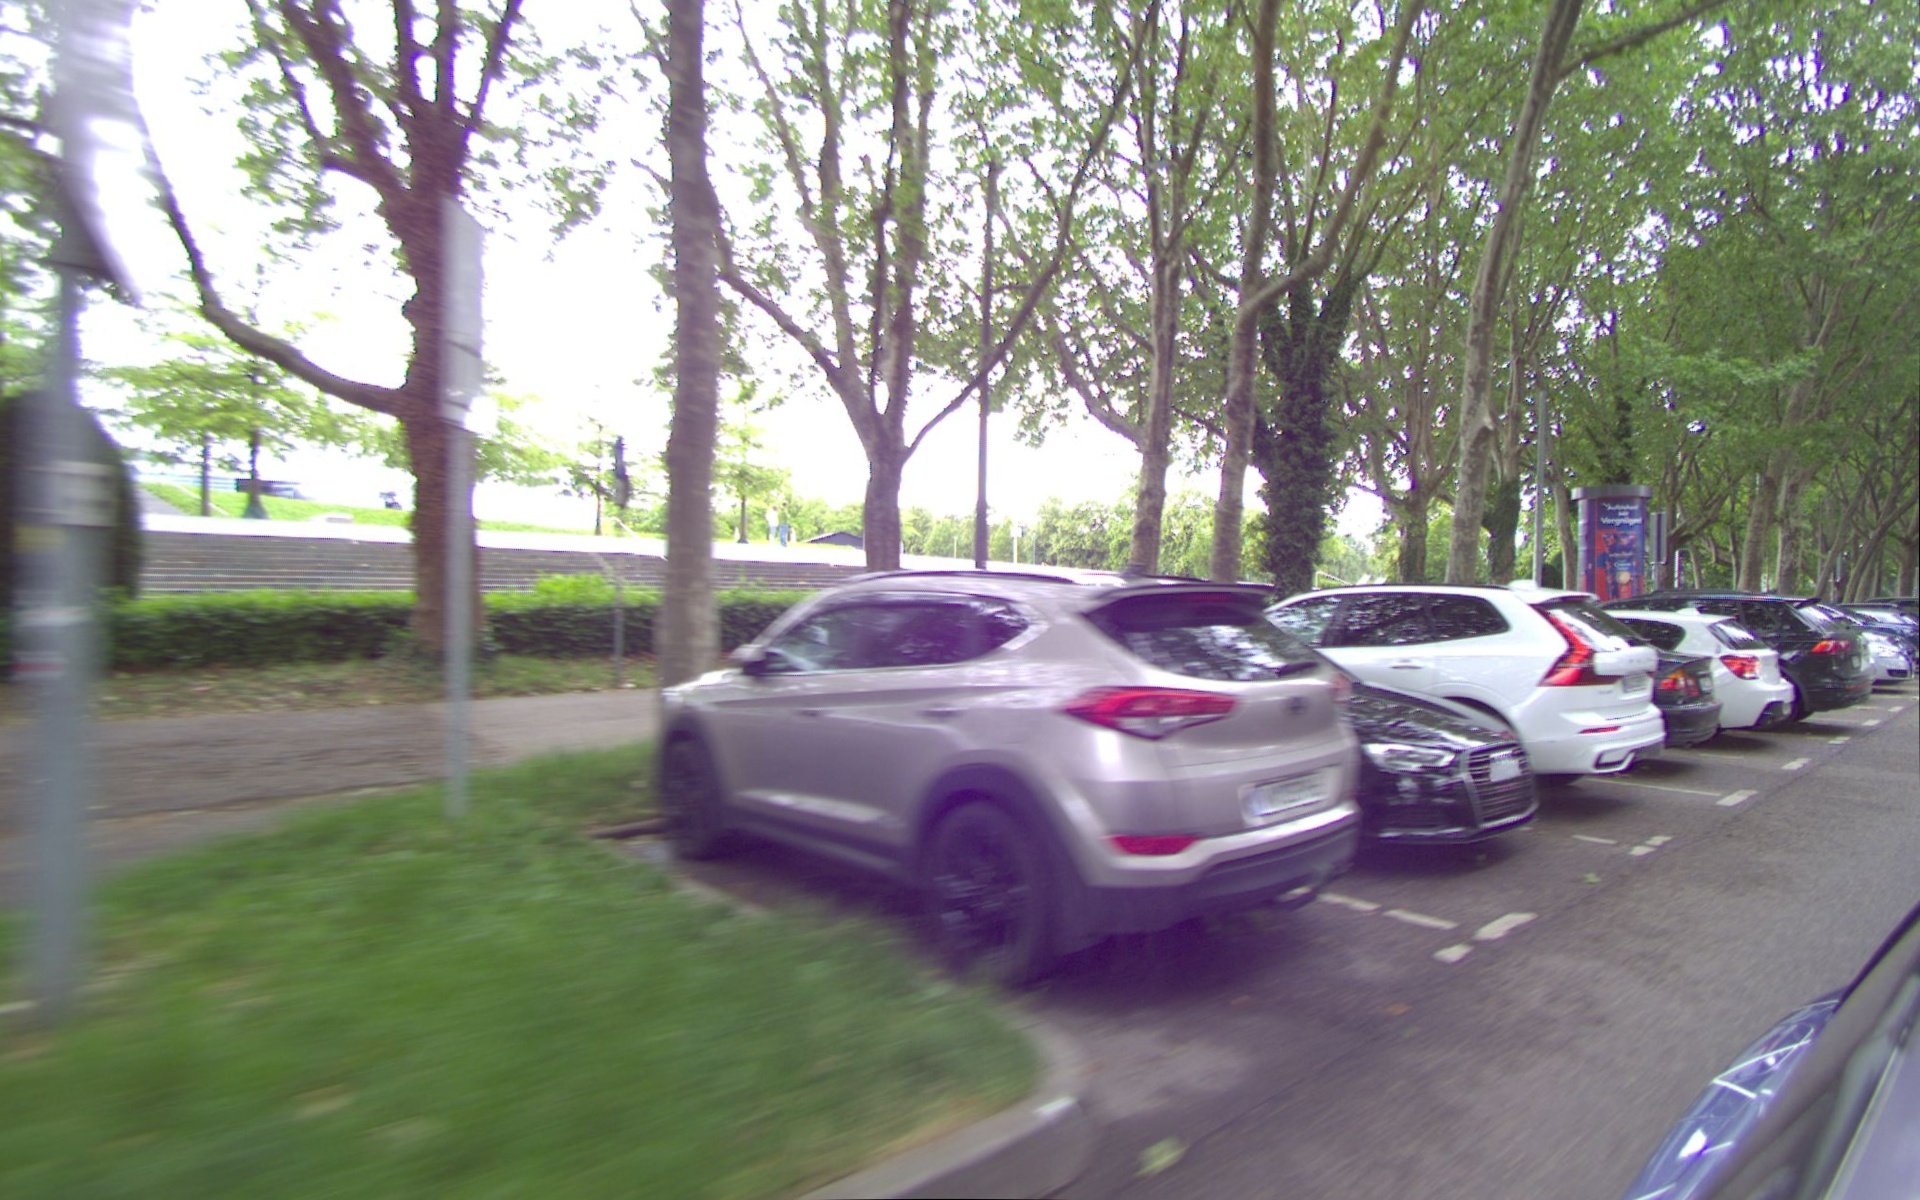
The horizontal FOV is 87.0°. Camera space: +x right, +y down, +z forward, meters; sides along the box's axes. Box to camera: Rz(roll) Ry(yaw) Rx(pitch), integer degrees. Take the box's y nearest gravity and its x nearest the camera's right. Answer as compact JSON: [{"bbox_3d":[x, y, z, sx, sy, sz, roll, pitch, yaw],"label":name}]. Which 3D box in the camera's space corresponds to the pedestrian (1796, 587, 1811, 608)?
[{"bbox_3d":[64.100,-0.200,76.904,0.685,1.587,0.725,0,0,-35],"label":"pedestrian"}]

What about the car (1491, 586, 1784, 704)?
[{"bbox_3d":[10.373,0.592,15.663,1.651,1.511,3.440,0,2,-41],"label":"car"}]

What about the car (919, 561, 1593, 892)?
[{"bbox_3d":[1.778,0.640,7.285,1.891,1.625,4.354,1,-1,-40],"label":"car"}]

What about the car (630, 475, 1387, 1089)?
[{"bbox_3d":[-0.064,0.617,5.543,1.964,2.039,3.994,1,-1,-40],"label":"car"}]

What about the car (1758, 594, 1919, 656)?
[{"bbox_3d":[23.920,0.629,26.507,1.888,1.521,4.361,1,-1,-34],"label":"car"}]

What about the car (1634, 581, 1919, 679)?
[{"bbox_3d":[16.360,0.554,20.389,1.805,1.768,4.351,1,-1,-42],"label":"car"}]

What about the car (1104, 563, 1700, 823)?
[{"bbox_3d":[3.505,0.610,8.741,1.891,1.654,4.354,1,-1,-40],"label":"car"}]

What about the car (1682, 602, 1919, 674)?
[{"bbox_3d":[18.215,0.756,21.816,1.713,1.397,4.048,1,-1,-40],"label":"car"}]

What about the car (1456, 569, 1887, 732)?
[{"bbox_3d":[9.175,0.504,13.349,1.892,1.783,4.353,0,1,-42],"label":"car"}]

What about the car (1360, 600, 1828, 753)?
[{"bbox_3d":[7.282,0.751,11.987,1.916,1.475,4.351,1,-1,-42],"label":"car"}]

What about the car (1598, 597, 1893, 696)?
[{"bbox_3d":[12.793,0.694,16.628,1.637,1.445,3.642,1,-1,-43],"label":"car"}]

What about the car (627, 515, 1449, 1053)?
[{"bbox_3d":[-0.009,0.582,5.412,1.891,1.654,4.354,1,-1,-40],"label":"car"}]

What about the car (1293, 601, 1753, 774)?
[{"bbox_3d":[5.565,0.746,10.341,1.745,1.420,3.736,0,-1,-41],"label":"car"}]

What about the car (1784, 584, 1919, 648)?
[{"bbox_3d":[27.677,0.479,30.150,2.009,1.819,4.508,1,-1,-36],"label":"car"}]

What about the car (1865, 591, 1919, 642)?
[{"bbox_3d":[34.928,0.585,35.534,2.011,1.819,4.502,1,-1,-41],"label":"car"}]

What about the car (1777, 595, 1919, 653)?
[{"bbox_3d":[25.763,0.652,28.187,1.890,1.521,4.357,1,-1,-38],"label":"car"}]

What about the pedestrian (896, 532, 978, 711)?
[{"bbox_3d":[-0.274,0.242,12.038,0.781,2.039,0.592,0,0,33],"label":"pedestrian"}]

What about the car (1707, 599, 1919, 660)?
[{"bbox_3d":[21.772,0.701,25.563,1.891,1.431,4.354,1,-1,-40],"label":"car"}]

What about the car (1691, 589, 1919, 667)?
[{"bbox_3d":[20.053,0.619,23.557,1.838,1.660,4.602,1,-1,-38],"label":"car"}]

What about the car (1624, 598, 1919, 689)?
[{"bbox_3d":[14.762,0.707,18.442,1.696,1.476,4.156,0,0,-40],"label":"car"}]

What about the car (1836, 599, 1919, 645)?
[{"bbox_3d":[31.186,0.688,32.396,1.898,1.446,4.504,0,0,-40],"label":"car"}]
